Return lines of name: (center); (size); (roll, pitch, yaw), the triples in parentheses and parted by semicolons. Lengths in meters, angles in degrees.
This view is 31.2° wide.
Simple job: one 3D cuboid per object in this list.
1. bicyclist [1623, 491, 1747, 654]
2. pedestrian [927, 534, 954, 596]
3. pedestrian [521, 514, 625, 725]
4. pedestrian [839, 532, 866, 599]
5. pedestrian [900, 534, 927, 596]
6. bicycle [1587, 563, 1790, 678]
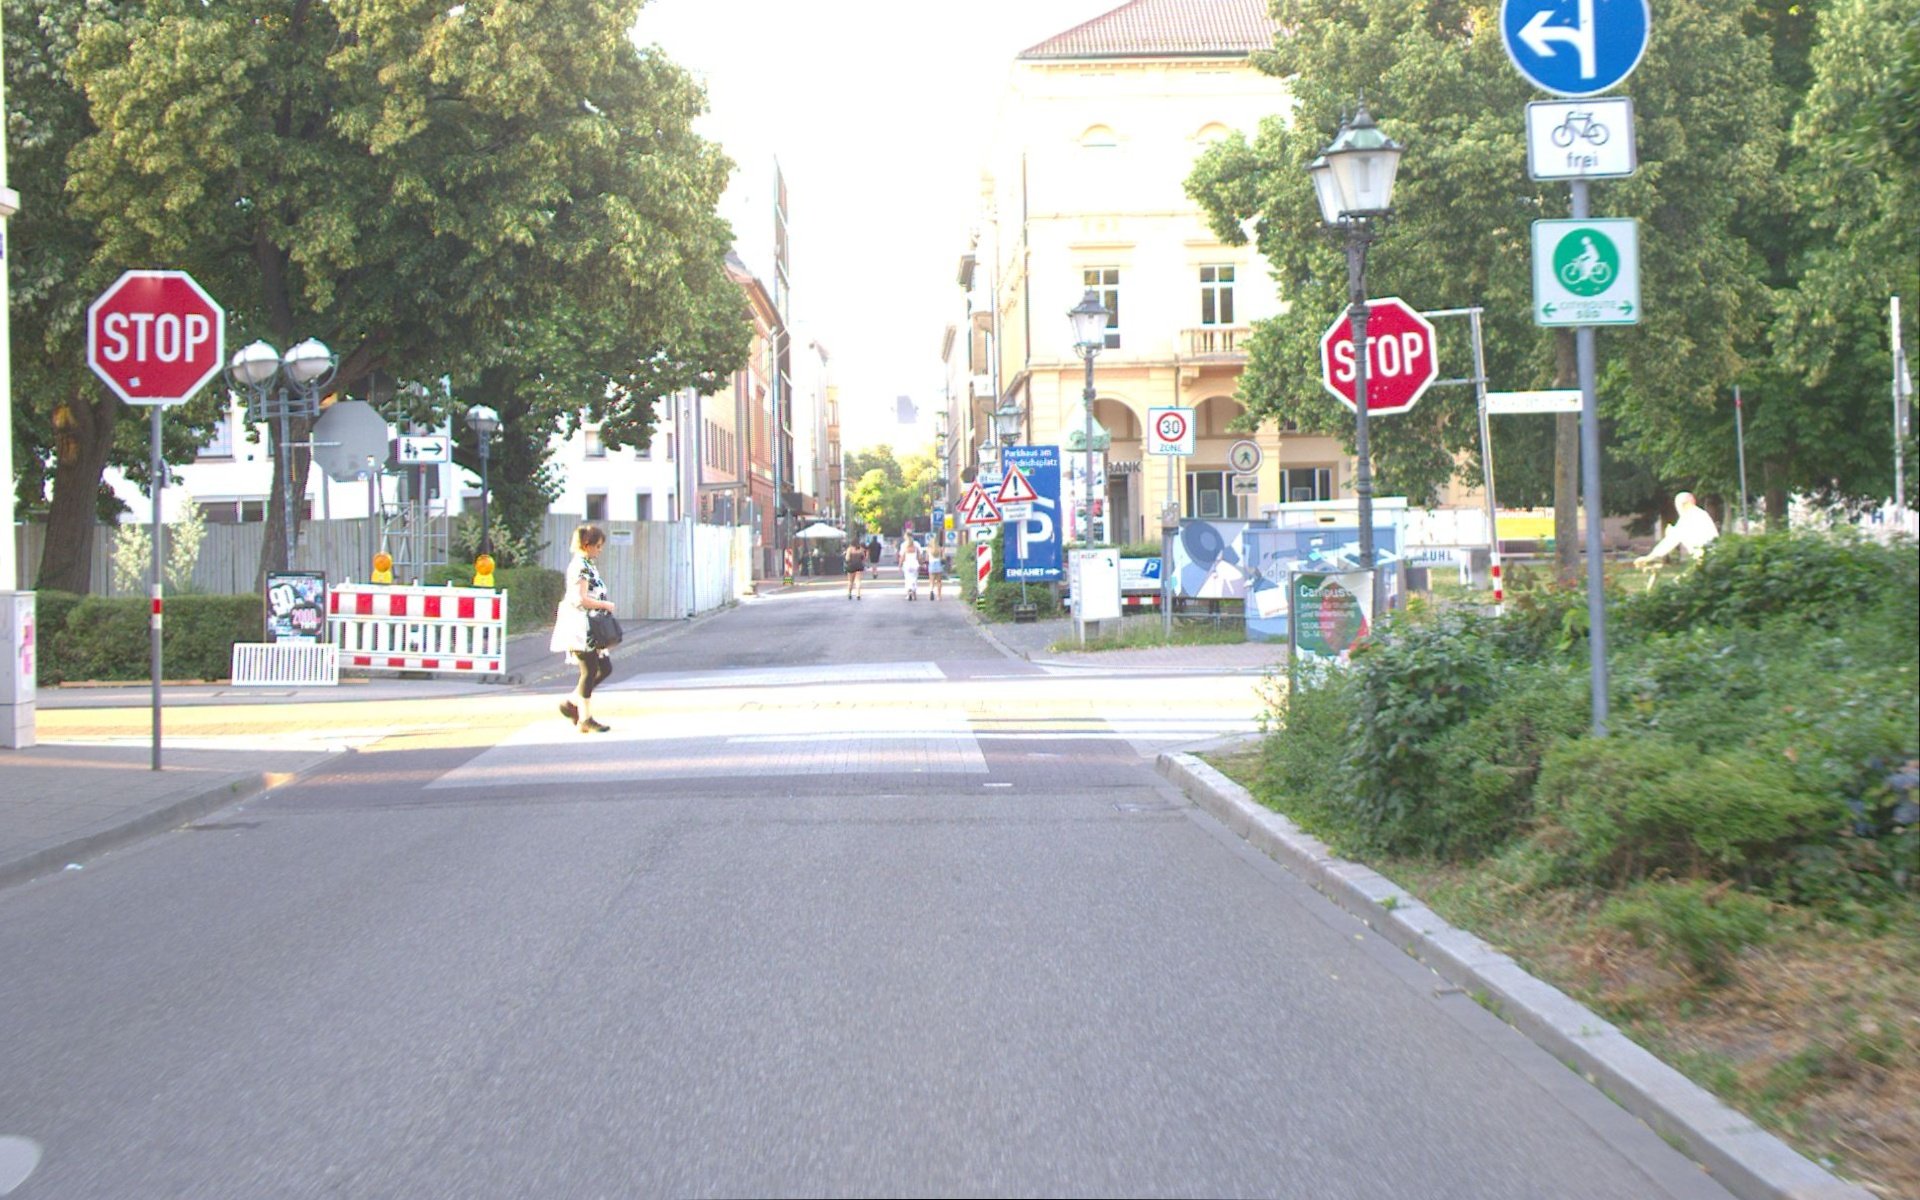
bicyclist: (7.402, -0.282, 35.117); (1.060, 1.627, 0.596); (-1, 1, -9)
pedestrian: (-0.522, -0.931, 90.642); (0.657, 1.611, 0.745); (-2, 1, 0)
pedestrian: (-3.154, 0.149, 28.083); (0.734, 1.683, 0.836); (-1, 1, -1)
pedestrian: (-2.875, -0.925, 92.068); (0.657, 1.754, 0.745); (-2, 1, 0)
pedestrian: (-1.223, -0.930, 90.655); (0.657, 1.611, 0.745); (-2, 1, 0)
bicycle: (7.435, 0.200, 35.091); (1.927, 1.117, 0.596); (-1, 1, -9)
